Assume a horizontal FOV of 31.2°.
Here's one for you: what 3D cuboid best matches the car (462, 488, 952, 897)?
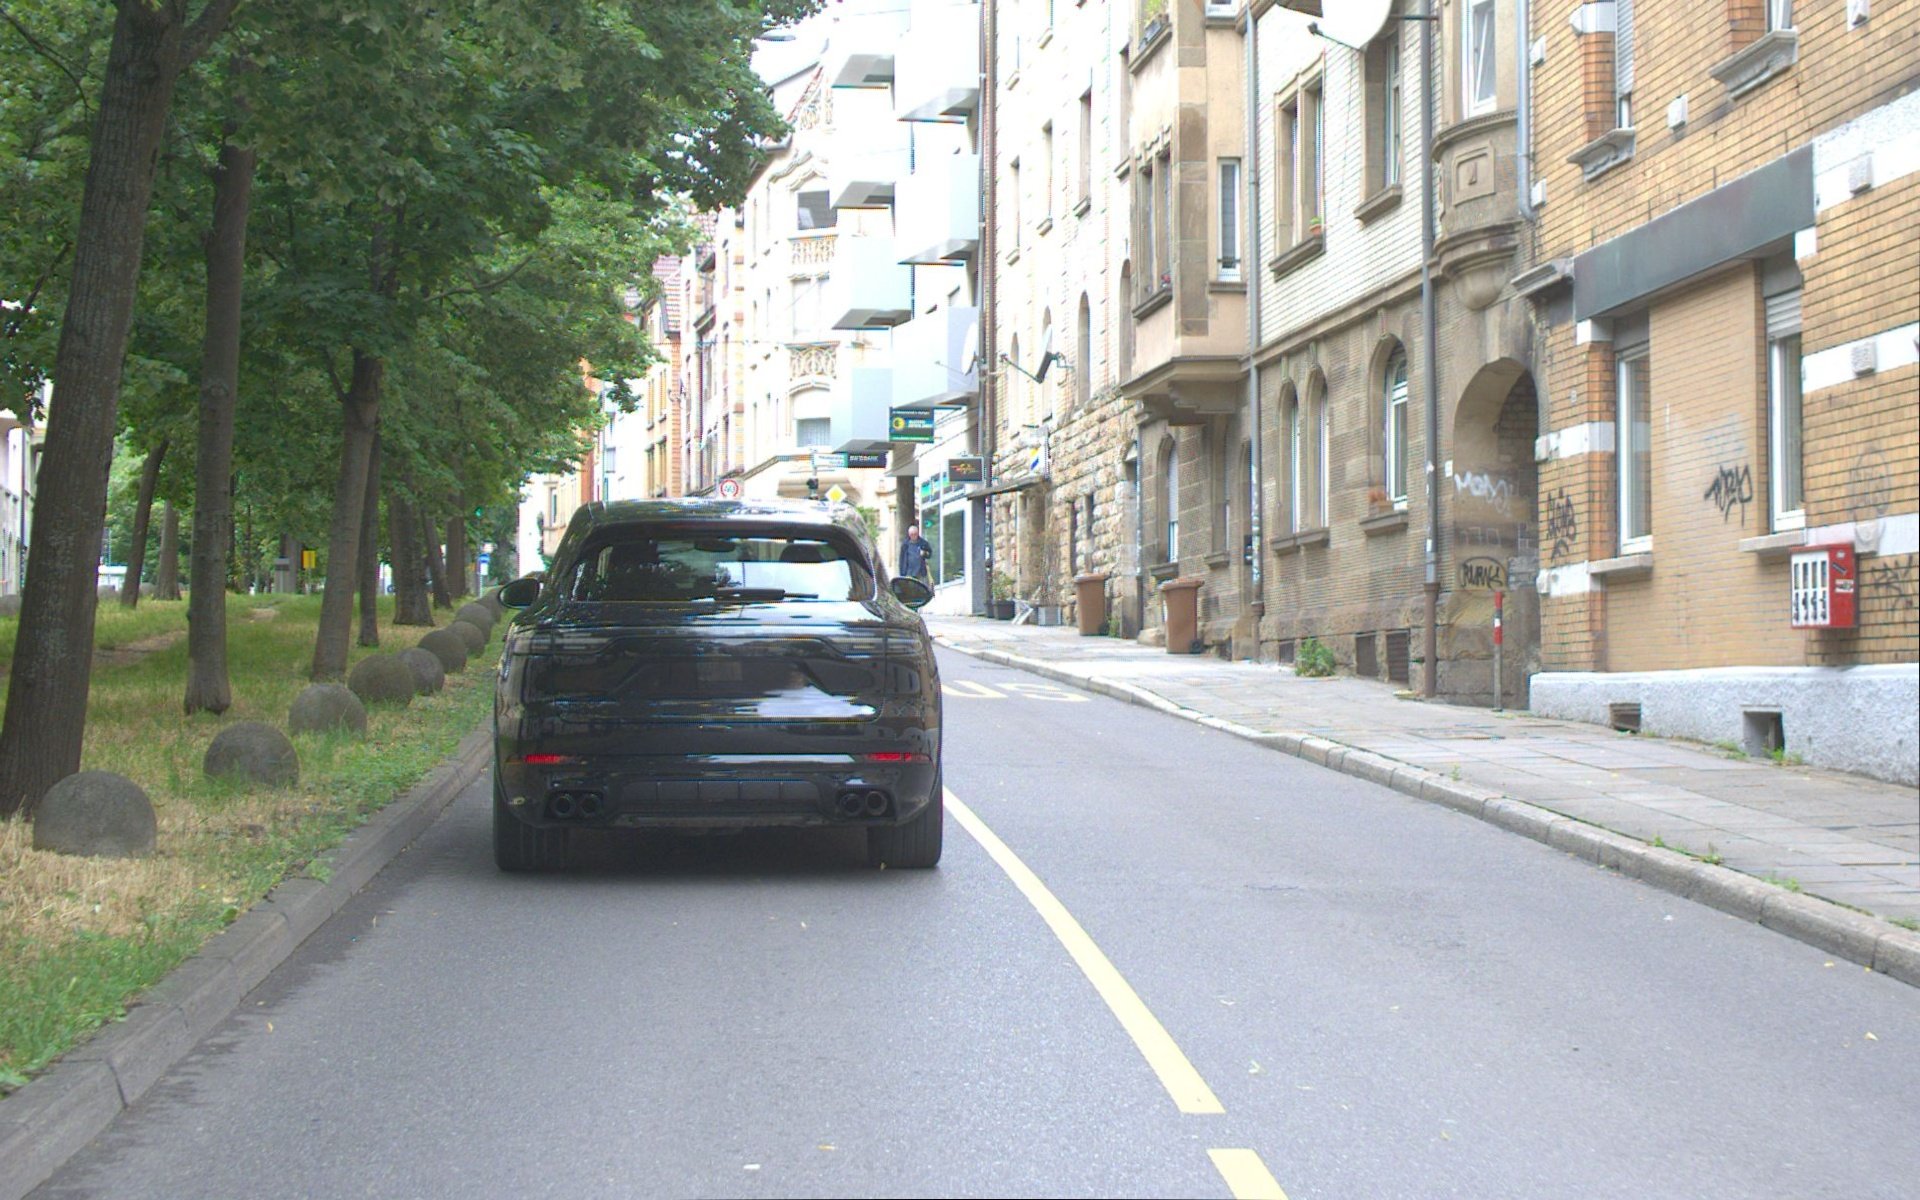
[{"bbox_3d":[-1.129,0.334,16.201,1.993,1.660,4.001,1,1,-2],"label":"car"}]

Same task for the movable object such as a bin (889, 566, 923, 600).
[{"bbox_3d":[-1.094,-0.349,69.852,0.607,0.666,0.858,0,-1,-6],"label":"movable object such as a bin"}]

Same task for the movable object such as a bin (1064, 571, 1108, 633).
[{"bbox_3d":[1.888,0.035,51.612,0.594,0.901,0.503,1,-3,-5],"label":"movable object such as a bin"}]

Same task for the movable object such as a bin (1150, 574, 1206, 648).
[{"bbox_3d":[2.731,0.136,43.089,0.594,0.901,0.563,1,0,-5],"label":"movable object such as a bin"}]

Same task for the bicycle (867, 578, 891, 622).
[{"bbox_3d":[-2.388,-0.008,100.890,0.446,1.157,1.835,0,5,-9],"label":"bicycle"}]

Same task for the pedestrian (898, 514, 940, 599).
[{"bbox_3d":[-0.822,-0.871,69.021,0.751,1.687,0.858,0,-1,-6],"label":"pedestrian"}]
